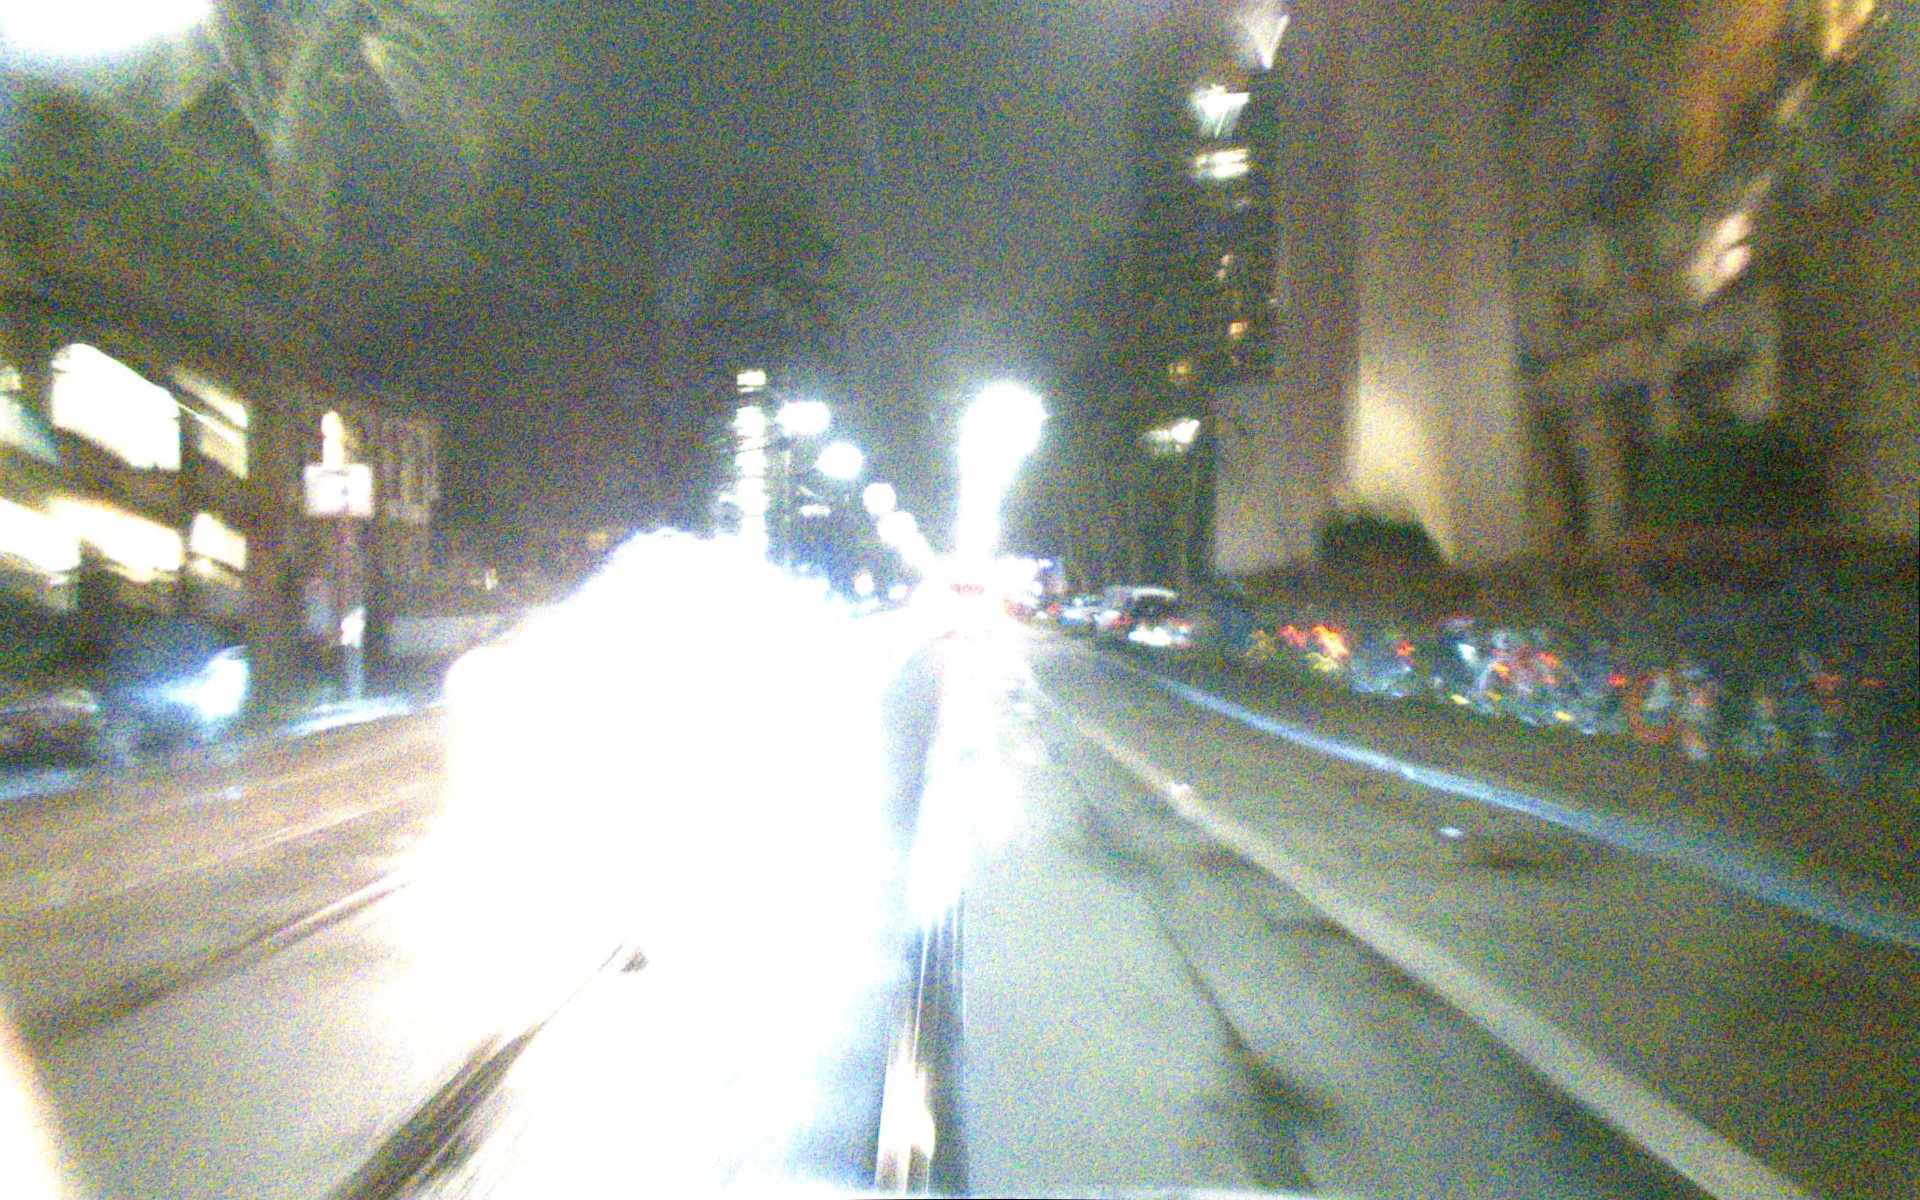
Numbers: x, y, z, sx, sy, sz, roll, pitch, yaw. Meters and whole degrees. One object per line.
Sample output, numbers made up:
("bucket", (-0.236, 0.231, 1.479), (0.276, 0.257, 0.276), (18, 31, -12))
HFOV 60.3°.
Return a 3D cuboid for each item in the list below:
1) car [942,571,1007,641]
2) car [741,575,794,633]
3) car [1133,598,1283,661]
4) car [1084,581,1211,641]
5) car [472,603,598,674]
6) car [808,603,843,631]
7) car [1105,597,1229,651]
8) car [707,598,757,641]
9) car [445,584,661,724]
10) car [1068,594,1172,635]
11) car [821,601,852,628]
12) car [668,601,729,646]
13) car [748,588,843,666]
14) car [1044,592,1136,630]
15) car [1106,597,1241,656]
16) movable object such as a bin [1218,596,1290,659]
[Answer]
("car", (0.482, 0.217, 61.286), (2.172, 2.484, 5.382), (1, 0, -2))
("car", (-9.014, 0.167, 78.002), (1.984, 2.542, 5.605), (2, 0, -3))
("car", (6.245, 0.748, 41.499), (3.759, 1.483, 1.743), (2, 0, -43))
("car", (6.316, 0.387, 55.541), (4.138, 1.871, 1.933), (2, 0, -42))
("car", (-9.255, 0.825, 36.314), (1.634, 1.411, 4.001), (2, -1, 1))
("car", (-9.109, 1.139, 112.291), (2.066, 1.795, 4.962), (2, -1, -3))
("car", (6.020, 0.703, 47.852), (1.574, 1.463, 3.807), (1, -1, 45))
("car", (-9.116, 0.747, 66.330), (1.608, 1.533, 3.618), (1, 2, -3))
("car", (-4.900, 0.589, 20.474), (1.618, 1.505, 4.205), (-2, 0, 0))
("car", (6.065, 0.515, 62.413), (1.662, 1.429, 4.432), (1, 2, 41))
("car", (-8.982, 1.074, 120.719), (1.959, 1.816, 3.999), (2, -1, 0))
("car", (-8.993, 0.799, 57.182), (1.577, 1.453, 3.807), (1, -1, -2))
("car", (-4.178, 0.652, 42.720), (1.899, 1.847, 4.385), (-2, 0, 1))
("car", (5.655, 0.494, 71.760), (3.855, 1.560, 1.794), (1, 0, -42))
("car", (5.767, 0.690, 44.444), (1.775, 1.514, 3.833), (0, 0, 42))
("movable object such as a bin", (6.823, 0.620, 38.449), (1.328, 1.432, 1.021), (0, 0, -20))
